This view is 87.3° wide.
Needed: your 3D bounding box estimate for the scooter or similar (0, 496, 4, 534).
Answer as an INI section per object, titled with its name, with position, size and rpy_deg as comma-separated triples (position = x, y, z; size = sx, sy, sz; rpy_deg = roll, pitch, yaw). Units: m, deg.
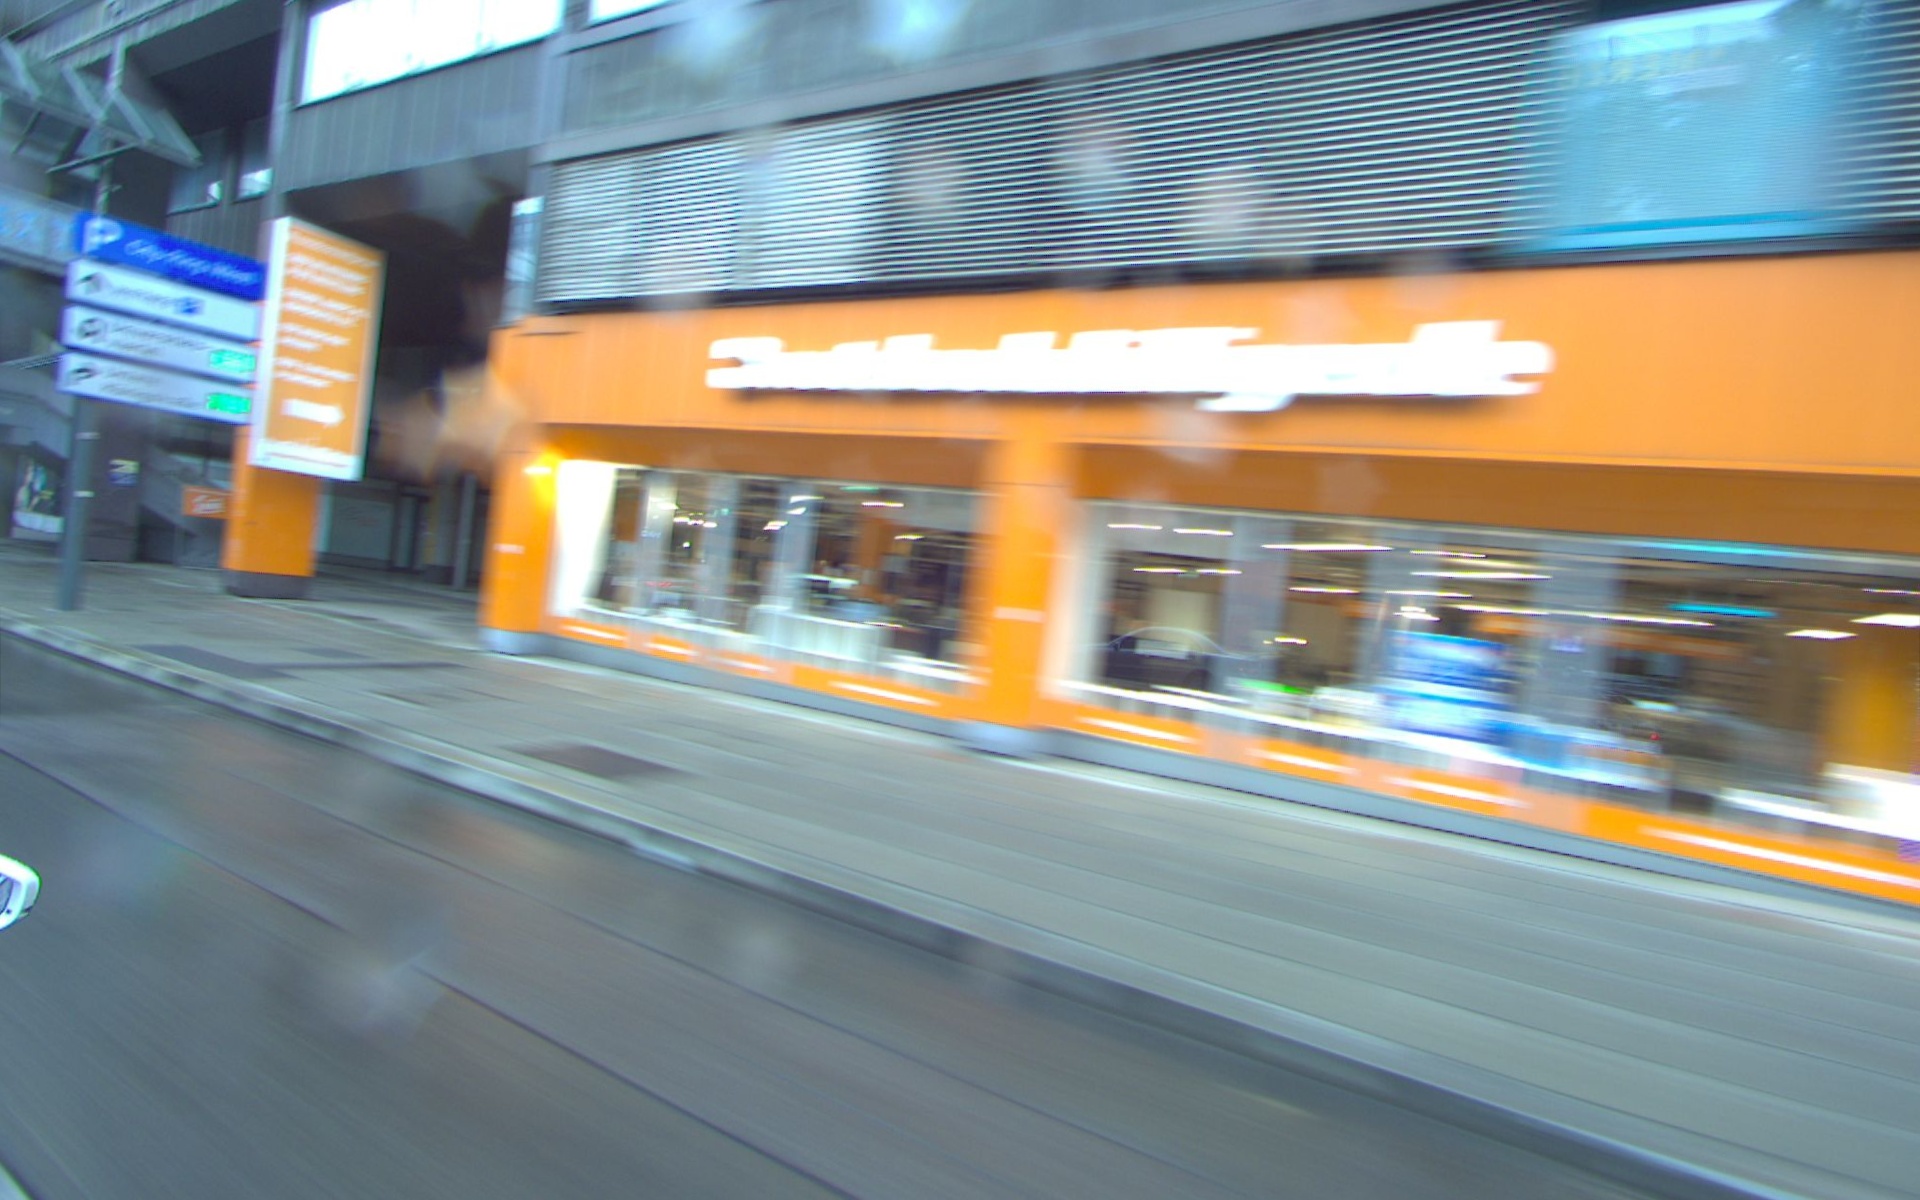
[scooter or similar]
position = -20.567, -1.591, 21.077
size = 1.371, 1.271, 0.350
rpy_deg = 7, 0, 32
